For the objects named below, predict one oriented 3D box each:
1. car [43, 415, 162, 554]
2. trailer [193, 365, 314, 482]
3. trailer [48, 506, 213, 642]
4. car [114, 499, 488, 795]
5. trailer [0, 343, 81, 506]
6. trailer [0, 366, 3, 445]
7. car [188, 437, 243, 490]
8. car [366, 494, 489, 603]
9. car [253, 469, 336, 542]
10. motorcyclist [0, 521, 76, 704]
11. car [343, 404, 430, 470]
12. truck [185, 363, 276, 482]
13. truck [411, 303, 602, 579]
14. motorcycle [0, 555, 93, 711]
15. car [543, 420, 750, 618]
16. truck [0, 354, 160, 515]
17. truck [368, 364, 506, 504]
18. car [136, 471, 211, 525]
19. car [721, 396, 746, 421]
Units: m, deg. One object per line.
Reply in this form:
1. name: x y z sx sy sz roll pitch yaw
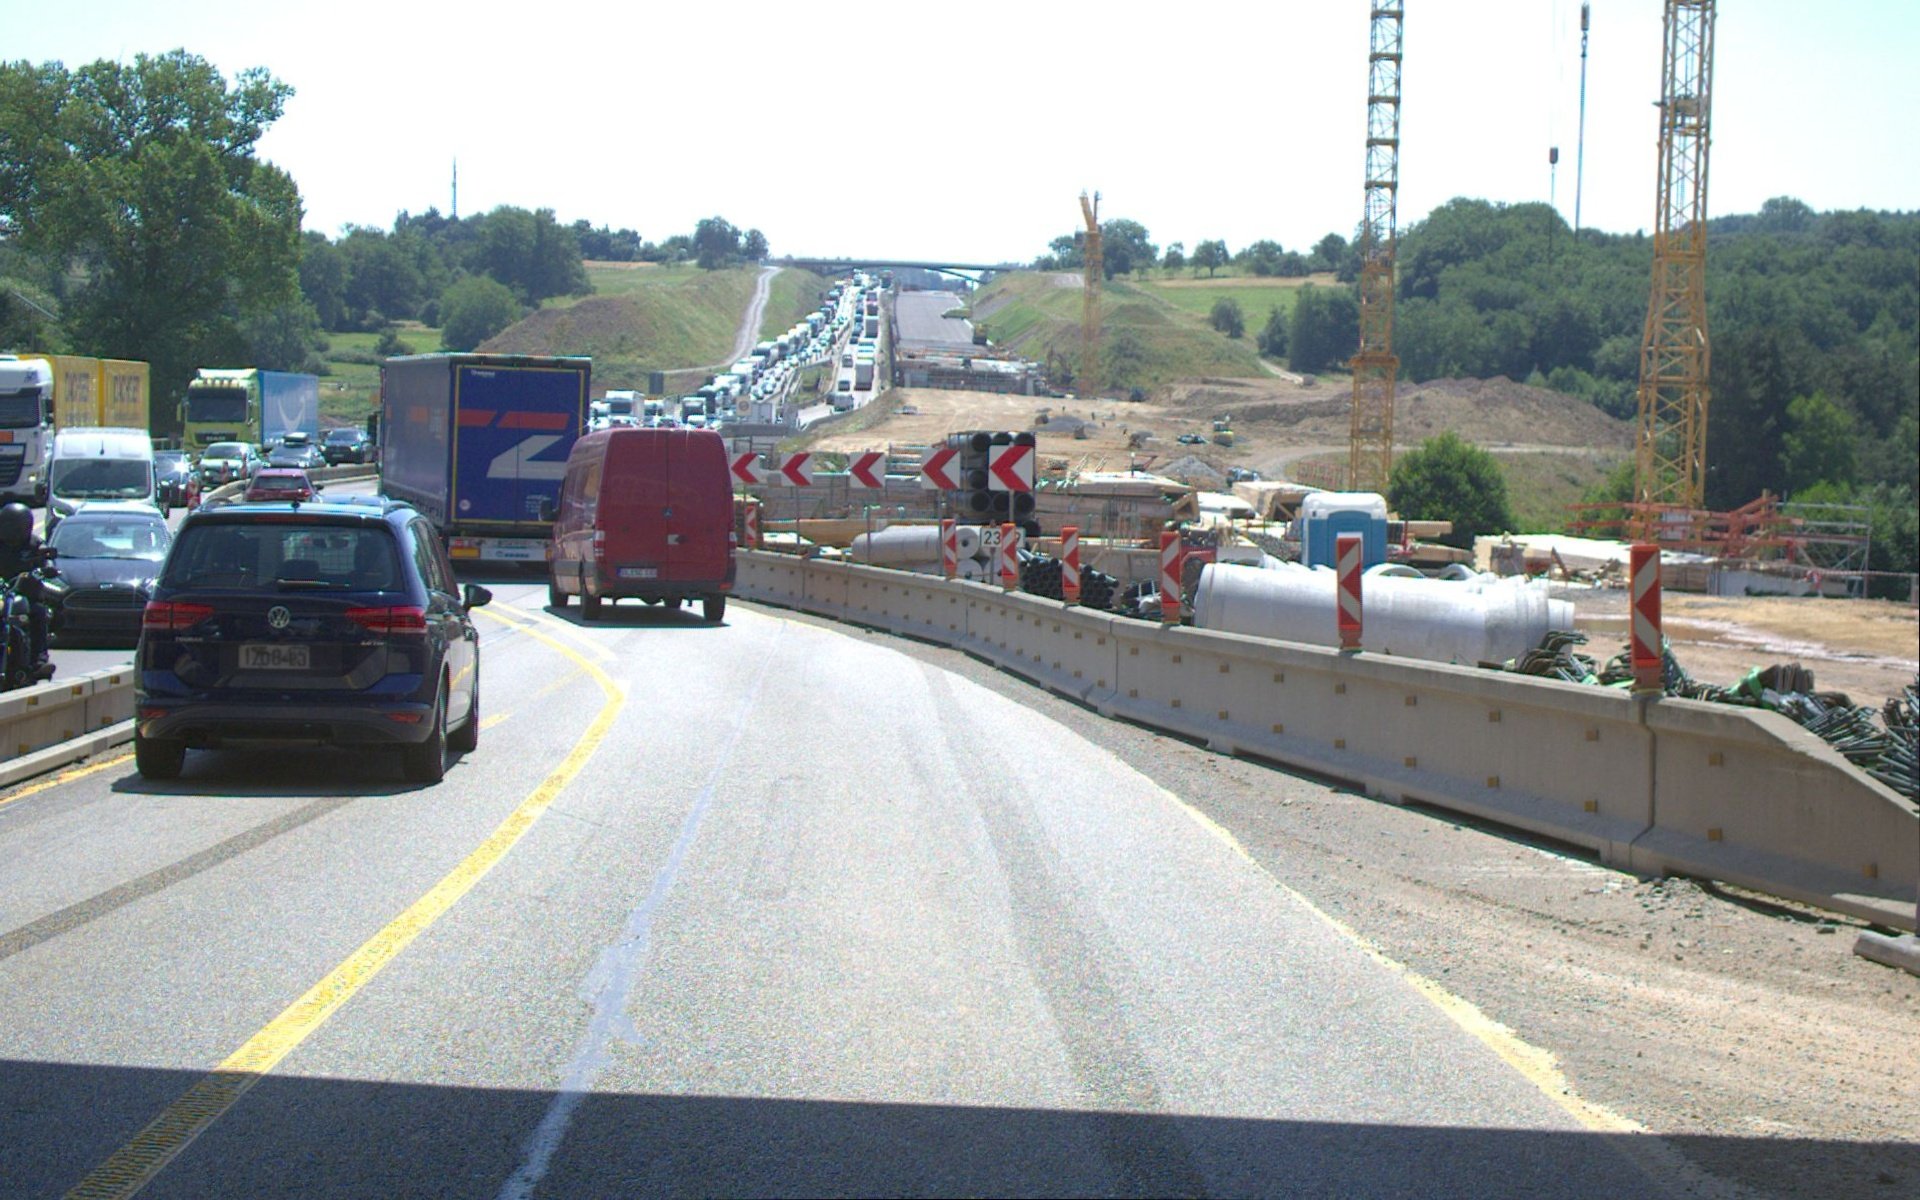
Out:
1. car: -16.460 -2.169 66.044 2.070 2.495 6.486 1 1 -14
2. trailer: -27.748 -6.894 135.514 2.647 4.277 13.312 2 2 -4
3. trailer: -9.400 -0.307 38.794 1.663 1.426 4.001 1 1 -15
4. car: -3.991 0.205 21.454 1.733 1.630 4.390 1 2 -4
5. trailer: -25.572 -4.701 92.345 2.865 4.214 5.220 1 2 -4
6. trailer: -21.020 -3.056 70.093 2.525 3.776 10.249 2 1 -14
7. car: -23.605 -4.334 108.982 1.636 1.480 4.002 1 4 -13
8. car: -8.503 -0.856 54.772 1.833 1.629 4.391 1 2 -9
9. car: -15.518 -2.231 80.245 1.833 1.629 4.107 1 2 -11
10. motorcyclist: -7.420 0.097 26.922 0.810 1.411 0.743 1 -1 -3
11. car: -21.221 -6.065 127.412 2.265 2.346 5.160 2 3 1
12. truck: -27.281 -6.610 128.662 2.625 4.255 4.733 2 2 -5
13. truck: -8.733 -3.043 65.550 2.944 4.928 6.744 1 3 -13
14. motorcycle: -7.405 0.222 26.627 0.832 1.146 2.791 1 0 -4
15. car: -4.495 -1.158 48.544 2.149 2.602 5.440 1 1 -13
16. truck: -26.313 -4.864 101.362 2.806 4.327 15.379 2 2 -4
17. truck: -15.520 -4.954 102.552 3.182 3.975 6.743 1 3 -1
18. car: -21.778 -2.841 95.289 1.676 1.357 4.505 2 3 -9
19. car: -16.097 -13.632 244.635 1.617 1.693 3.891 2 3 -2
